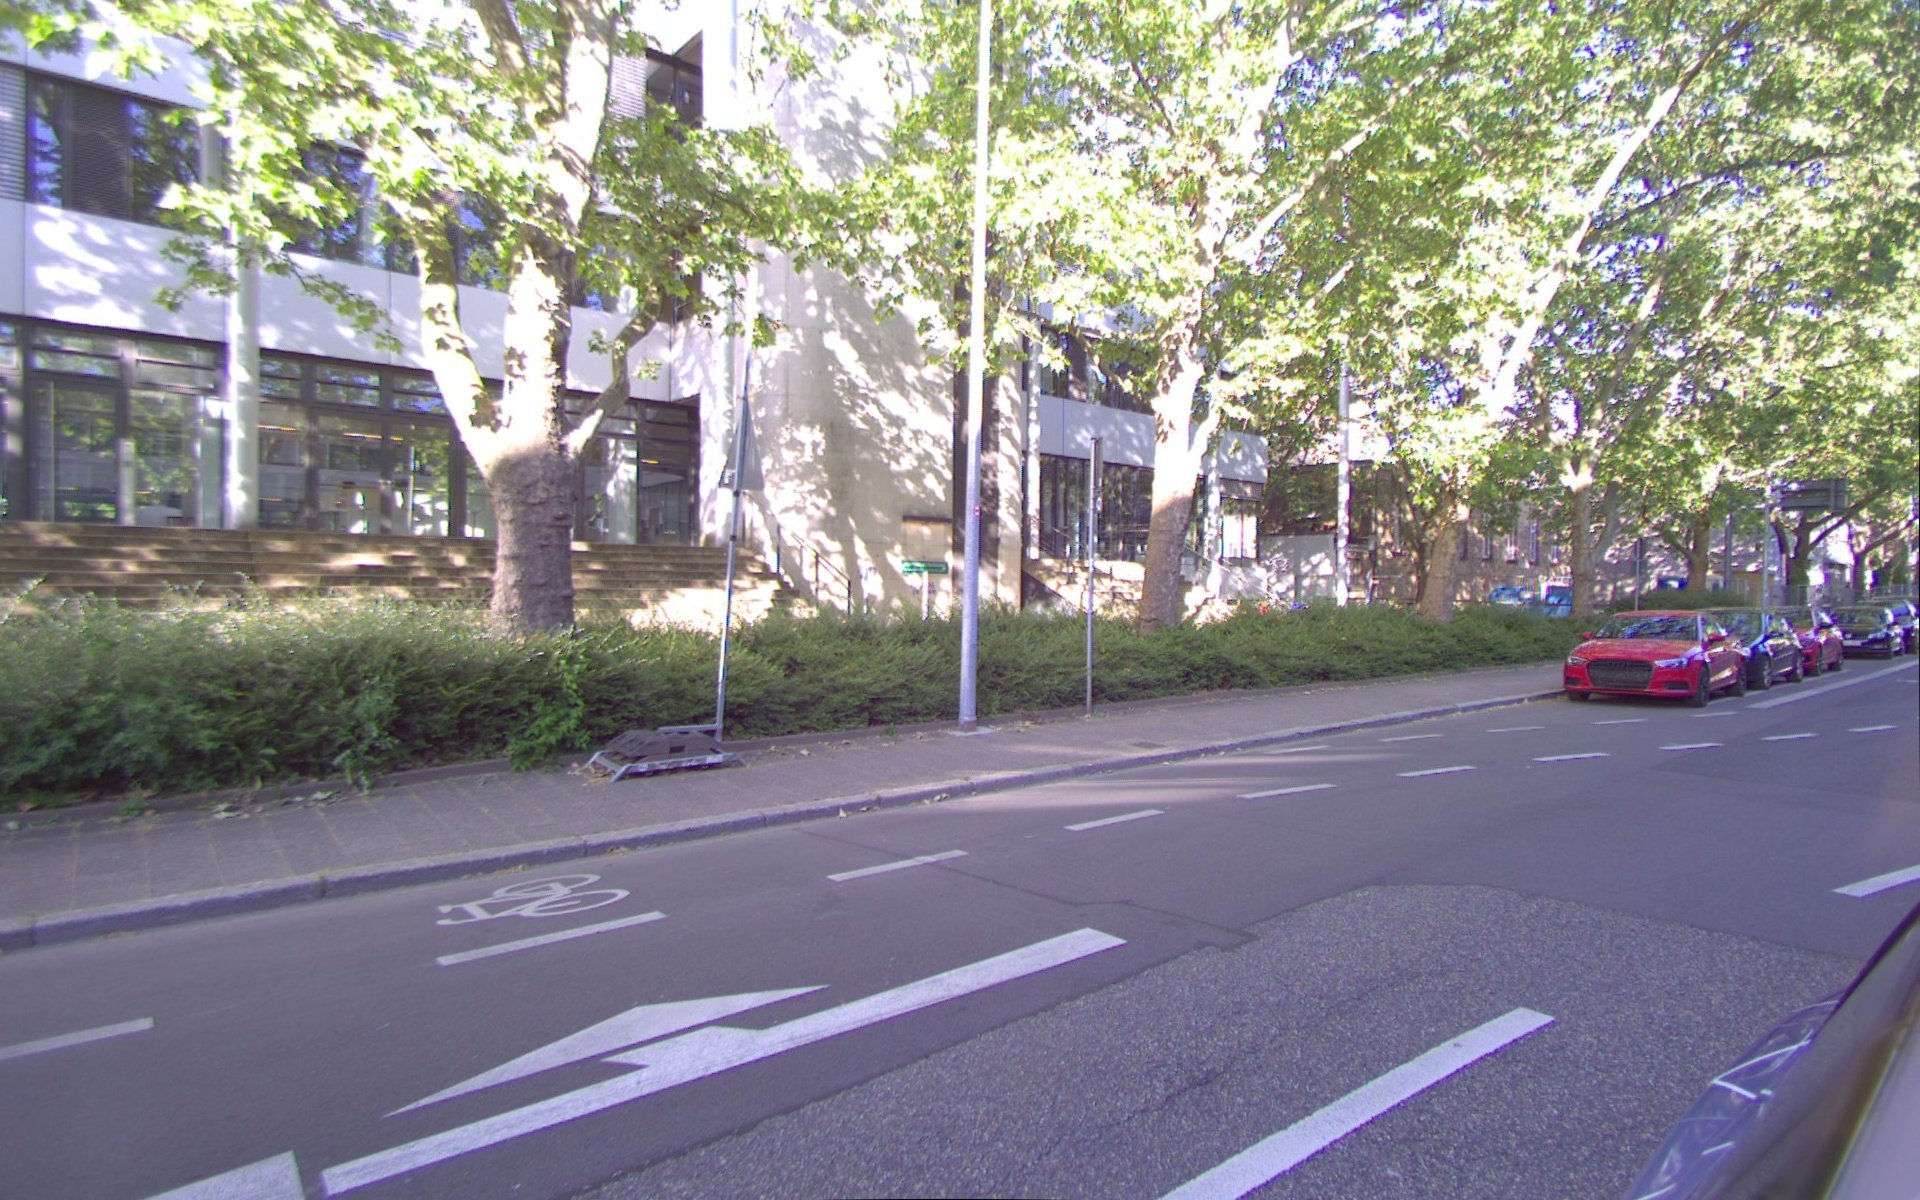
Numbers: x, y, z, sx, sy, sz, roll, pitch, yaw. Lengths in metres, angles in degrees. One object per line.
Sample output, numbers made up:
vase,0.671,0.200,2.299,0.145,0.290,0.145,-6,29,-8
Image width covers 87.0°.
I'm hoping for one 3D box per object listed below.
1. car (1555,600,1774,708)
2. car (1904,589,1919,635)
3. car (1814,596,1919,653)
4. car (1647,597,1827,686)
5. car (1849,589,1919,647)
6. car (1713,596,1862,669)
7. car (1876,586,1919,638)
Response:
car,11.315,0.742,16.137,4.403,1.469,1.865,0,0,-41
car,38.869,0.447,39.965,4.403,1.781,1.865,0,0,-41
car,25.786,0.624,28.609,4.403,1.469,1.865,0,0,-41
car,14.762,0.696,19.138,4.403,1.469,1.865,0,0,-41
car,29.566,0.517,31.804,4.403,1.689,1.865,0,0,-41
car,18.430,0.640,22.475,4.403,1.469,1.865,0,0,-41
car,33.903,0.398,35.695,4.403,1.781,1.865,0,0,-41
